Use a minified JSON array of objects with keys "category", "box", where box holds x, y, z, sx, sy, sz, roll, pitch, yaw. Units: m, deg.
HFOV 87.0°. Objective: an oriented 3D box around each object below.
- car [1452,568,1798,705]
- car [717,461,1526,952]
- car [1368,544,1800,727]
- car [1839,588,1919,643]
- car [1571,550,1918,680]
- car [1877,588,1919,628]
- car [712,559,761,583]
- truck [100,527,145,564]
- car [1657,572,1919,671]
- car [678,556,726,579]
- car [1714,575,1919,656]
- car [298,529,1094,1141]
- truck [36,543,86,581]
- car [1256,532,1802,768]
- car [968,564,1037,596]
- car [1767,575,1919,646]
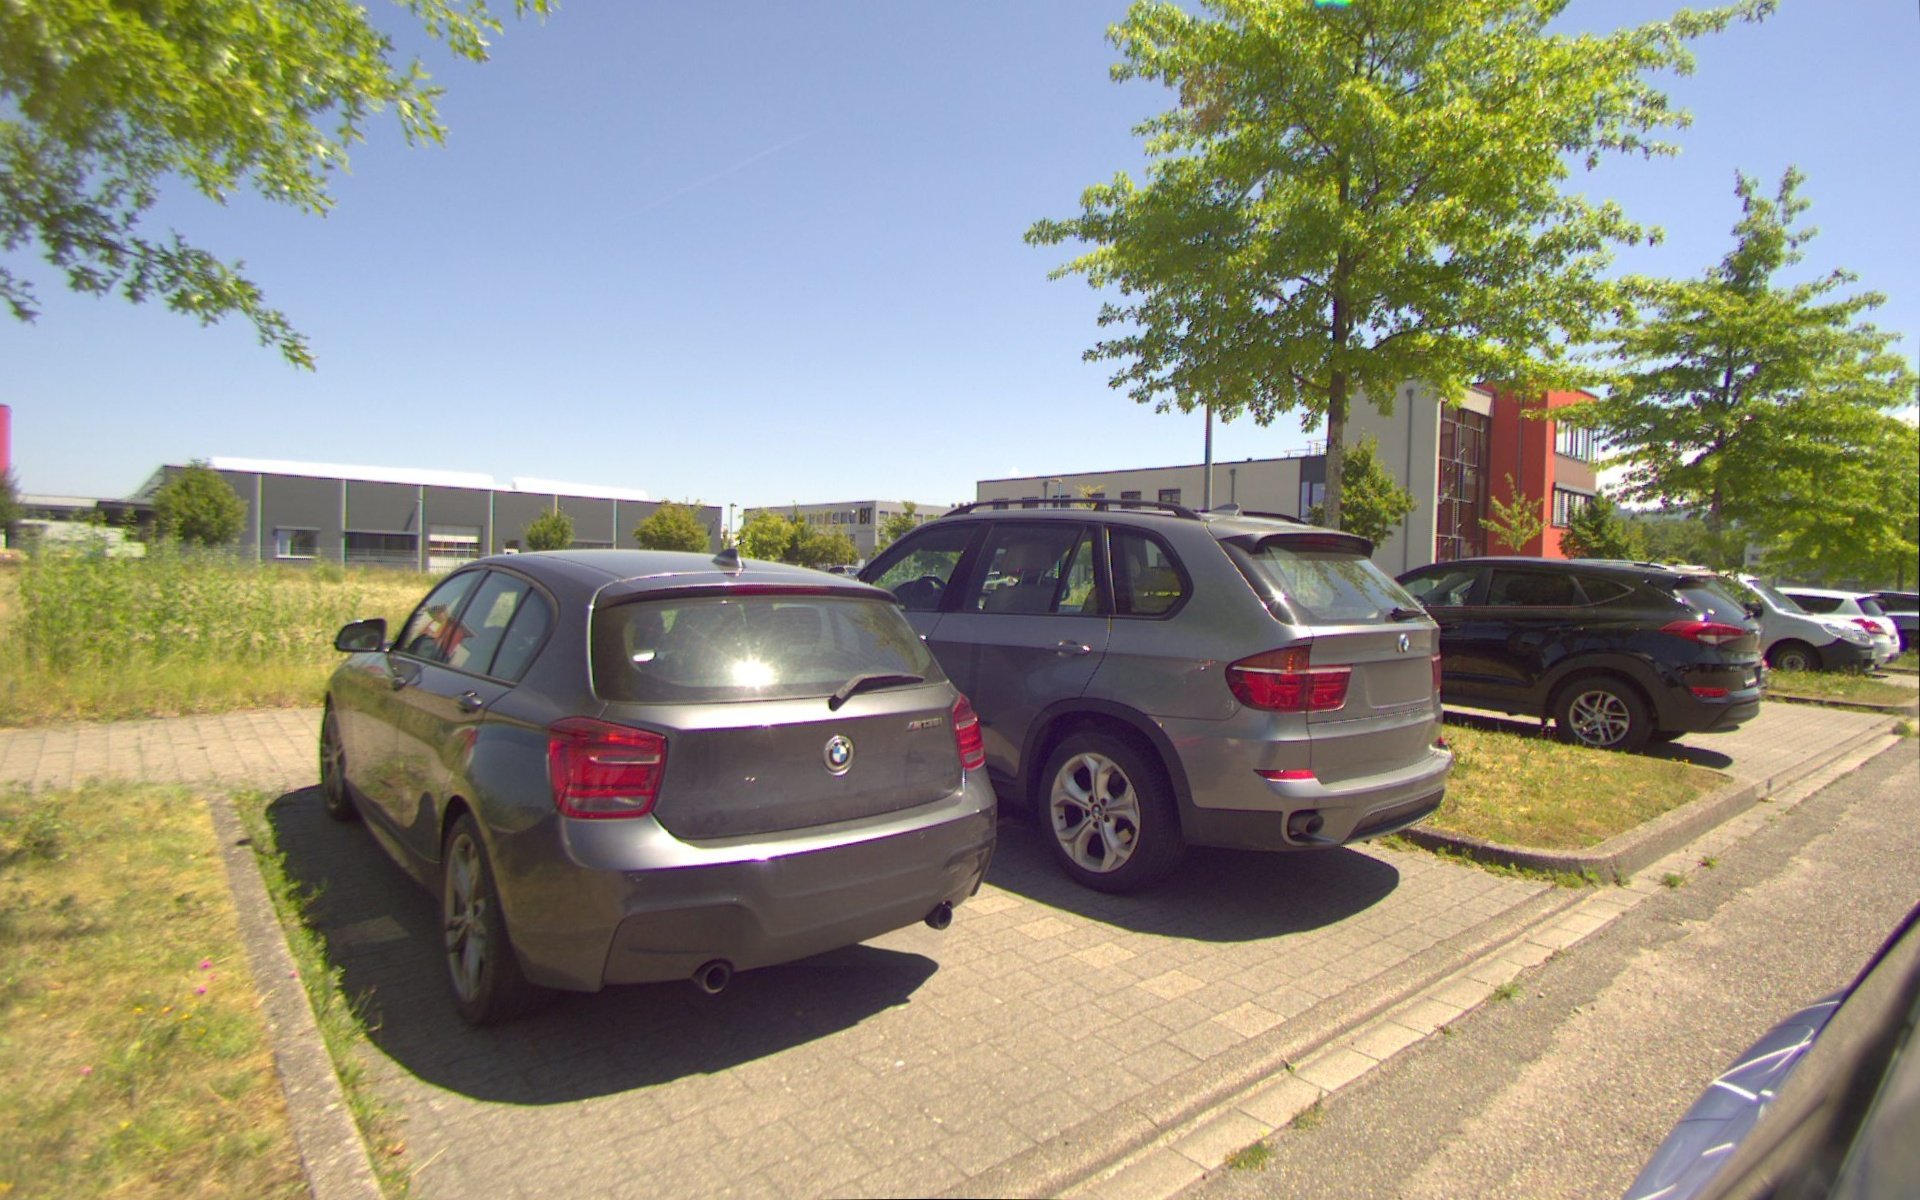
[{"category":"car","box":[8.709,0.373,13.456,1.724,1.434,3.466,0,3,-40]},{"category":"car","box":[0.547,0.258,6.002,1.959,1.790,4.457,0,3,-42]},{"category":"car","box":[7.084,0.262,11.814,1.750,1.698,3.885,0,3,-40]},{"category":"car","box":[29.504,0.516,30.756,1.745,1.572,3.848,2,2,-35]},{"category":"car","box":[13.430,0.137,17.588,1.763,1.852,4.415,0,3,-39]},{"category":"car","box":[39.050,0.436,39.872,1.695,1.508,4.011,1,4,-36]},{"category":"car","box":[-15.984,-2.083,72.268,1.689,1.528,3.996,0,2,-40]},{"category":"truck","box":[-49.041,-3.172,59.237,1.965,2.038,3.995,1,2,-41]},{"category":"car","box":[15.571,0.323,19.079,1.646,1.521,3.641,0,4,-39]},{"category":"car","box":[-18.093,-2.273,70.766,1.689,1.470,3.996,0,2,-40]},{"category":"car","box":[20.438,0.333,23.248,1.882,1.580,4.722,0,4,-44]},{"category":"car","box":[-1.513,0.430,4.453,1.876,1.426,3.932,-1,4,-40]},{"category":"truck","box":[-50.538,-2.155,56.954,1.965,2.038,4.351,1,2,-41]},{"category":"car","box":[5.195,0.270,9.731,1.751,1.717,4.183,0,3,-41]},{"category":"car","box":[2.151,-1.023,51.704,1.689,1.528,3.330,0,2,-40]},{"category":"car","box":[24.201,0.270,26.848,1.663,1.644,4.058,0,3,-39]}]
